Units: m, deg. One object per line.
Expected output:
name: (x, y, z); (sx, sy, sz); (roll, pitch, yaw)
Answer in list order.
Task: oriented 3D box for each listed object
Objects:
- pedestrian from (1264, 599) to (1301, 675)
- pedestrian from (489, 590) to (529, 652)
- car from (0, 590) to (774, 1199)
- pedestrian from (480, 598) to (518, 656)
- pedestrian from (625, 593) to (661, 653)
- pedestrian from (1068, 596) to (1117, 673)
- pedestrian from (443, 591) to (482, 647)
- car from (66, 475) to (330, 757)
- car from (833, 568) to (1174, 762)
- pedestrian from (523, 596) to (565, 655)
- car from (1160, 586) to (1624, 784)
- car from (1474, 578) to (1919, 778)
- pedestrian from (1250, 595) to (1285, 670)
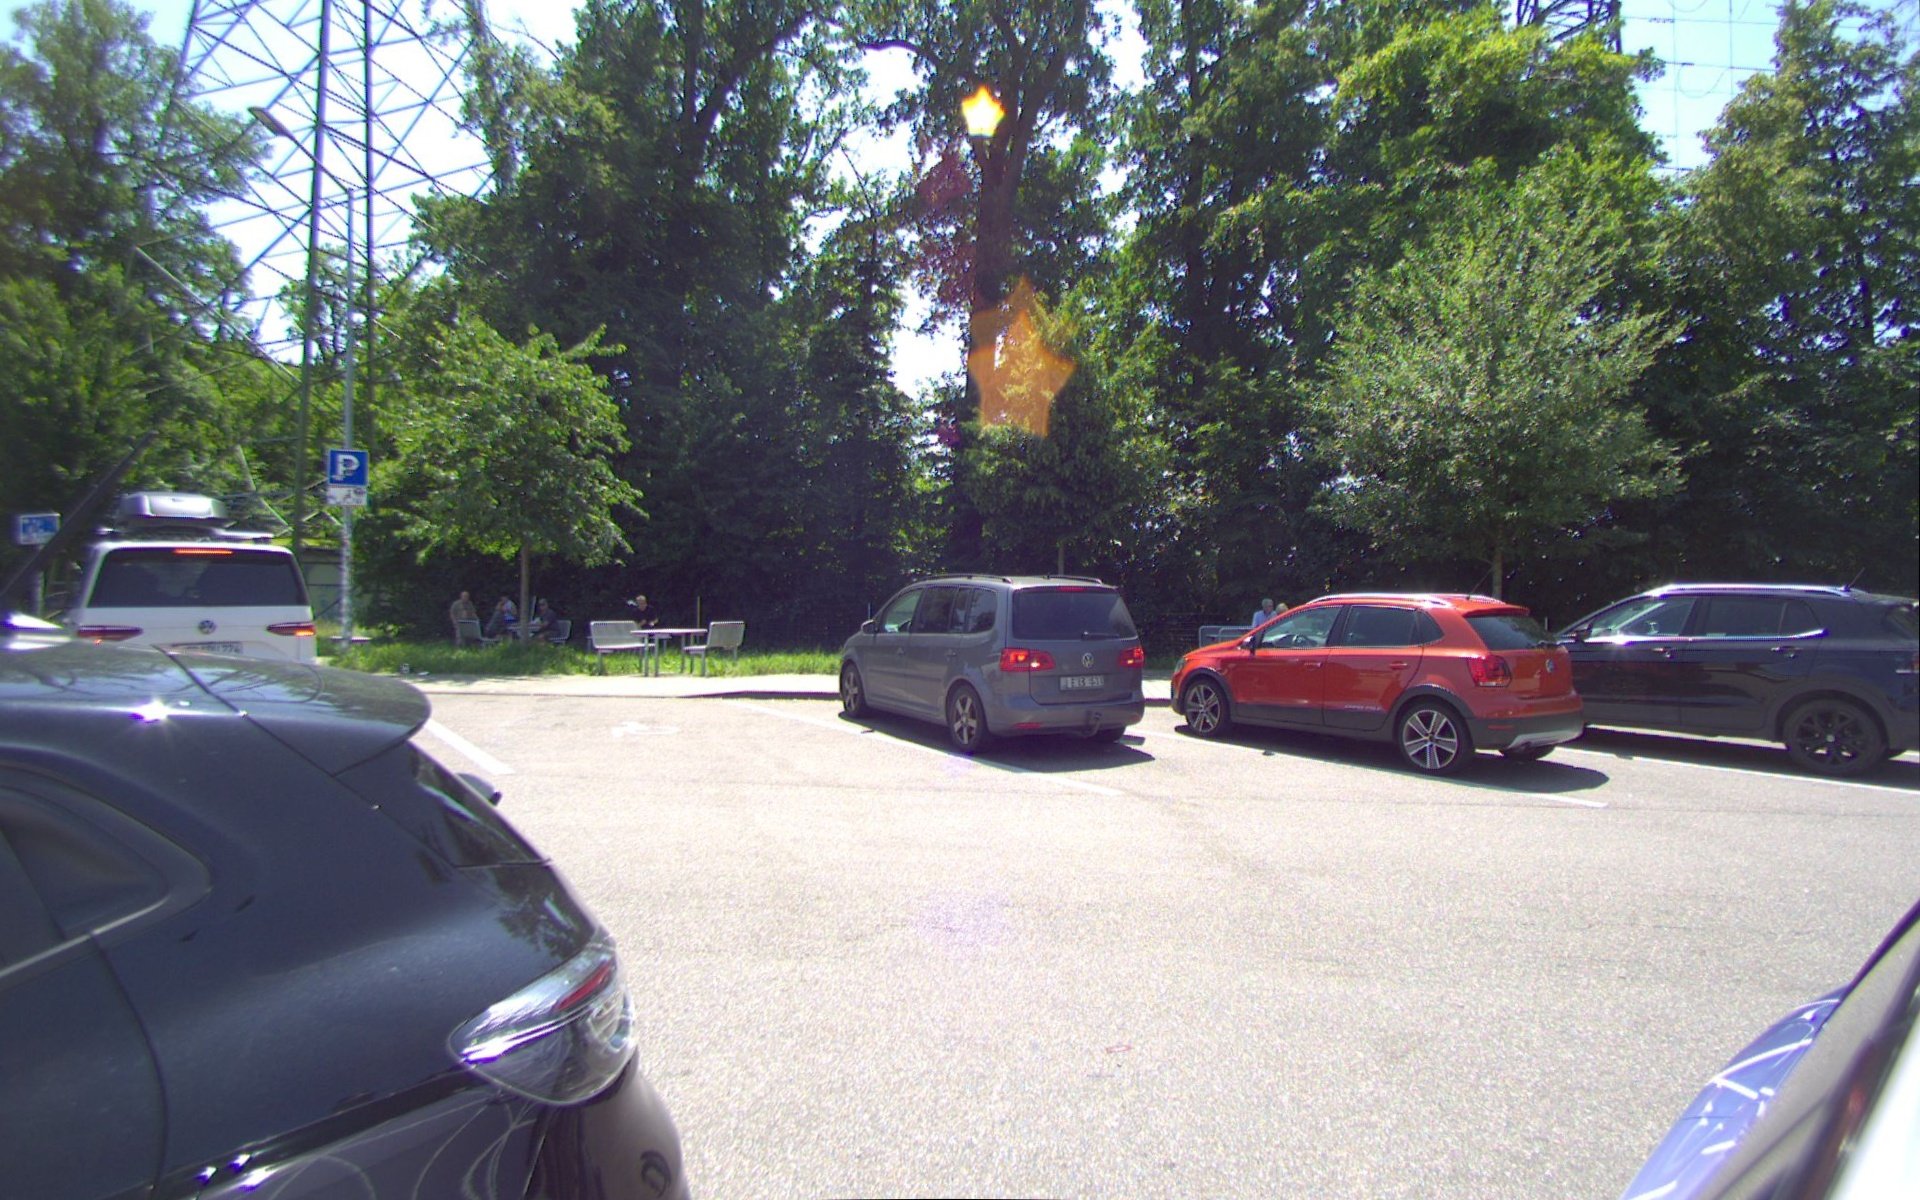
pedestrian: (5.702, 0.650, 17.898); (0.495, 1.316, 0.491); (1, -1, 0)
pedestrian: (-10.932, 0.500, 24.516); (0.722, 1.478, 0.669); (1, -1, -39)
car: (-2.114, 0.724, 0.589); (1.615, 1.503, 3.706); (0, -1, 44)
pedestrian: (-10.420, 0.607, 22.882); (0.630, 1.287, 0.579); (1, -1, -39)
pedestrian: (-6.659, 0.474, 21.277); (0.550, 1.229, 0.599); (1, -1, -1)
pedestrian: (2.200, 0.572, 16.839); (0.660, 1.235, 0.682); (1, -2, -5)
pedestrian: (-12.502, 0.465, 25.437); (0.605, 1.391, 0.698); (0, -1, 44)
car: (-8.052, 0.096, 10.628); (1.885, 2.353, 4.089); (0, 1, -40)
car: (0.238, 0.509, 10.556); (1.717, 1.611, 3.961); (0, 1, -30)
pedestrian: (-9.700, 0.592, 23.579); (0.722, 1.343, 0.669); (1, -1, -39)
car: (3.855, 0.614, 9.640); (1.604, 1.476, 3.810); (0, 1, -34)
car: (7.252, 0.585, 9.677); (1.727, 1.566, 3.806); (0, 1, -39)
pedestrian: (5.783, 0.600, 19.022); (0.495, 1.393, 0.491); (1, -1, 0)
